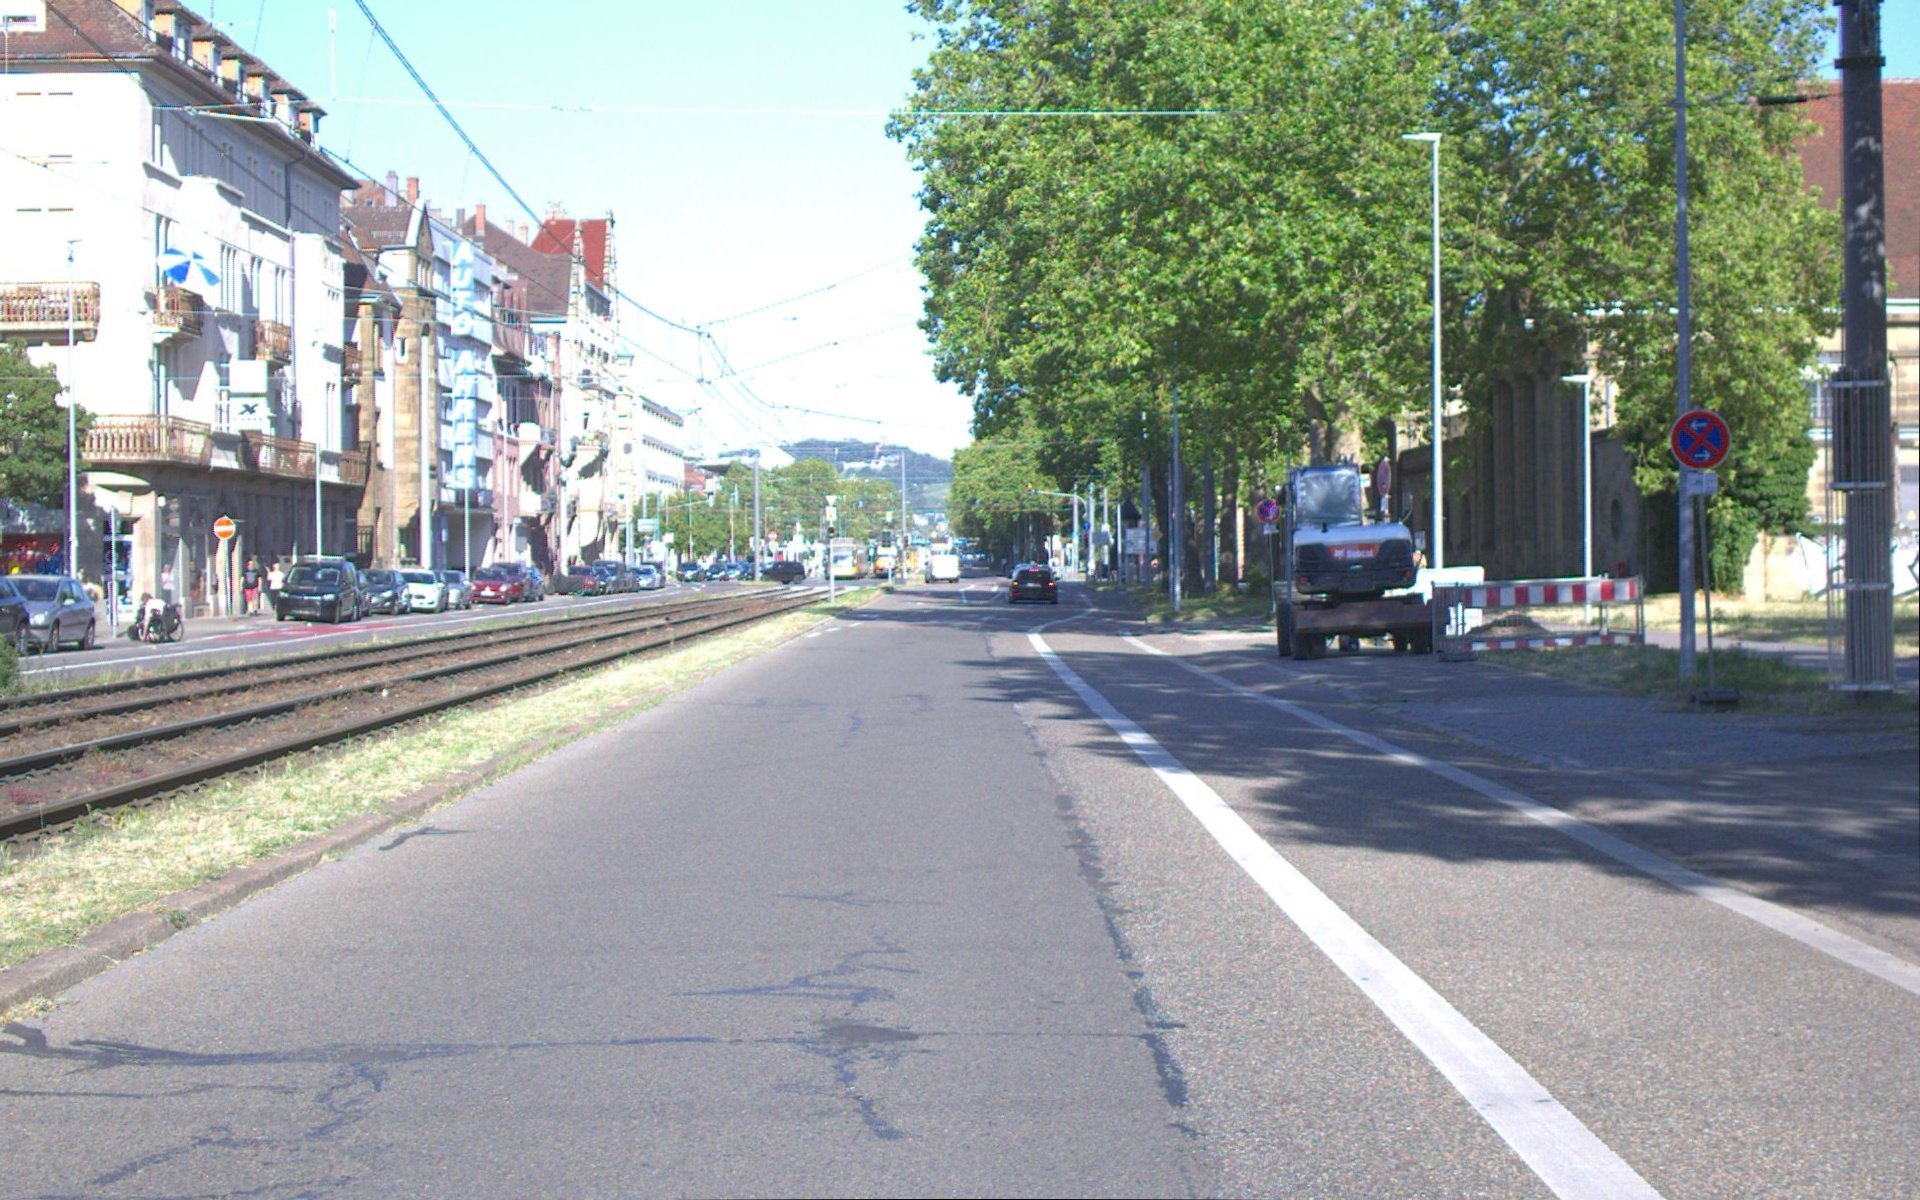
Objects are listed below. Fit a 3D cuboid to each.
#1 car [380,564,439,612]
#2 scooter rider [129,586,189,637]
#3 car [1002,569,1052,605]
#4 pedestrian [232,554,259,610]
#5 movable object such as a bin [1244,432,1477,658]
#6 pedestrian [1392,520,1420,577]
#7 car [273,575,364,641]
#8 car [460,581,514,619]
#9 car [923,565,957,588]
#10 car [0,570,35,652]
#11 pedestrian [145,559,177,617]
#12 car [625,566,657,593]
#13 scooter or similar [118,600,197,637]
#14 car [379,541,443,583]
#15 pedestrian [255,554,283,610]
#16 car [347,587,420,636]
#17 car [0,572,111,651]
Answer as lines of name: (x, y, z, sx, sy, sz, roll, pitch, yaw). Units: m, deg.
car: (-18.713, -0.427, 116.952, 1.635, 1.464, 3.984, 2, 1, -4)
scooter rider: (-17.702, 0.254, 75.965, 0.977, 1.085, 0.807, -1, 1, 31)
car: (2.601, -0.523, 133.781, 1.833, 1.386, 4.159, 0, 0, -1)
pedestrian: (-21.859, -0.562, 105.195, 0.589, 1.691, 0.857, 2, 0, 2)
movable object such as a bin: (6.151, -0.854, 53.849, 2.744, 3.135, 7.219, -3, 1, 1)
pedestrian: (13.427, -1.539, 103.556, 0.608, 1.676, 0.636, -4, 1, -2)
car: (-18.691, 0.223, 100.304, 1.862, 1.780, 4.402, 2, 1, -1)
car: (-18.910, -0.001, 137.530, 1.833, 1.386, 4.036, 3, 0, -5)
car: (-1.378, -1.563, 232.607, 1.794, 1.505, 4.001, 2, 0, -7)
car: (-18.480, 0.189, 63.270, 1.635, 1.502, 4.159, 1, 0, 2)
pedestrian: (-23.143, -0.334, 99.630, 0.639, 1.656, 0.954, 2, 0, 2)
car: (-19.025, -1.217, 205.181, 1.794, 1.505, 4.001, 3, 1, -4)
scooter or similar: (-17.736, 0.410, 75.986, 1.567, 0.768, 0.807, -1, 1, 31)
car: (-20.076, -1.408, 125.761, 1.635, 1.464, 4.159, 1, 1, 0)
pedestrian: (-21.162, -0.543, 105.286, 0.589, 1.691, 0.857, 2, 0, 2)
car: (-18.622, 0.365, 111.183, 1.635, 1.464, 4.159, 3, 1, -1)
car: (-18.477, 0.208, 68.936, 1.794, 1.505, 4.000, 2, 0, 1)
